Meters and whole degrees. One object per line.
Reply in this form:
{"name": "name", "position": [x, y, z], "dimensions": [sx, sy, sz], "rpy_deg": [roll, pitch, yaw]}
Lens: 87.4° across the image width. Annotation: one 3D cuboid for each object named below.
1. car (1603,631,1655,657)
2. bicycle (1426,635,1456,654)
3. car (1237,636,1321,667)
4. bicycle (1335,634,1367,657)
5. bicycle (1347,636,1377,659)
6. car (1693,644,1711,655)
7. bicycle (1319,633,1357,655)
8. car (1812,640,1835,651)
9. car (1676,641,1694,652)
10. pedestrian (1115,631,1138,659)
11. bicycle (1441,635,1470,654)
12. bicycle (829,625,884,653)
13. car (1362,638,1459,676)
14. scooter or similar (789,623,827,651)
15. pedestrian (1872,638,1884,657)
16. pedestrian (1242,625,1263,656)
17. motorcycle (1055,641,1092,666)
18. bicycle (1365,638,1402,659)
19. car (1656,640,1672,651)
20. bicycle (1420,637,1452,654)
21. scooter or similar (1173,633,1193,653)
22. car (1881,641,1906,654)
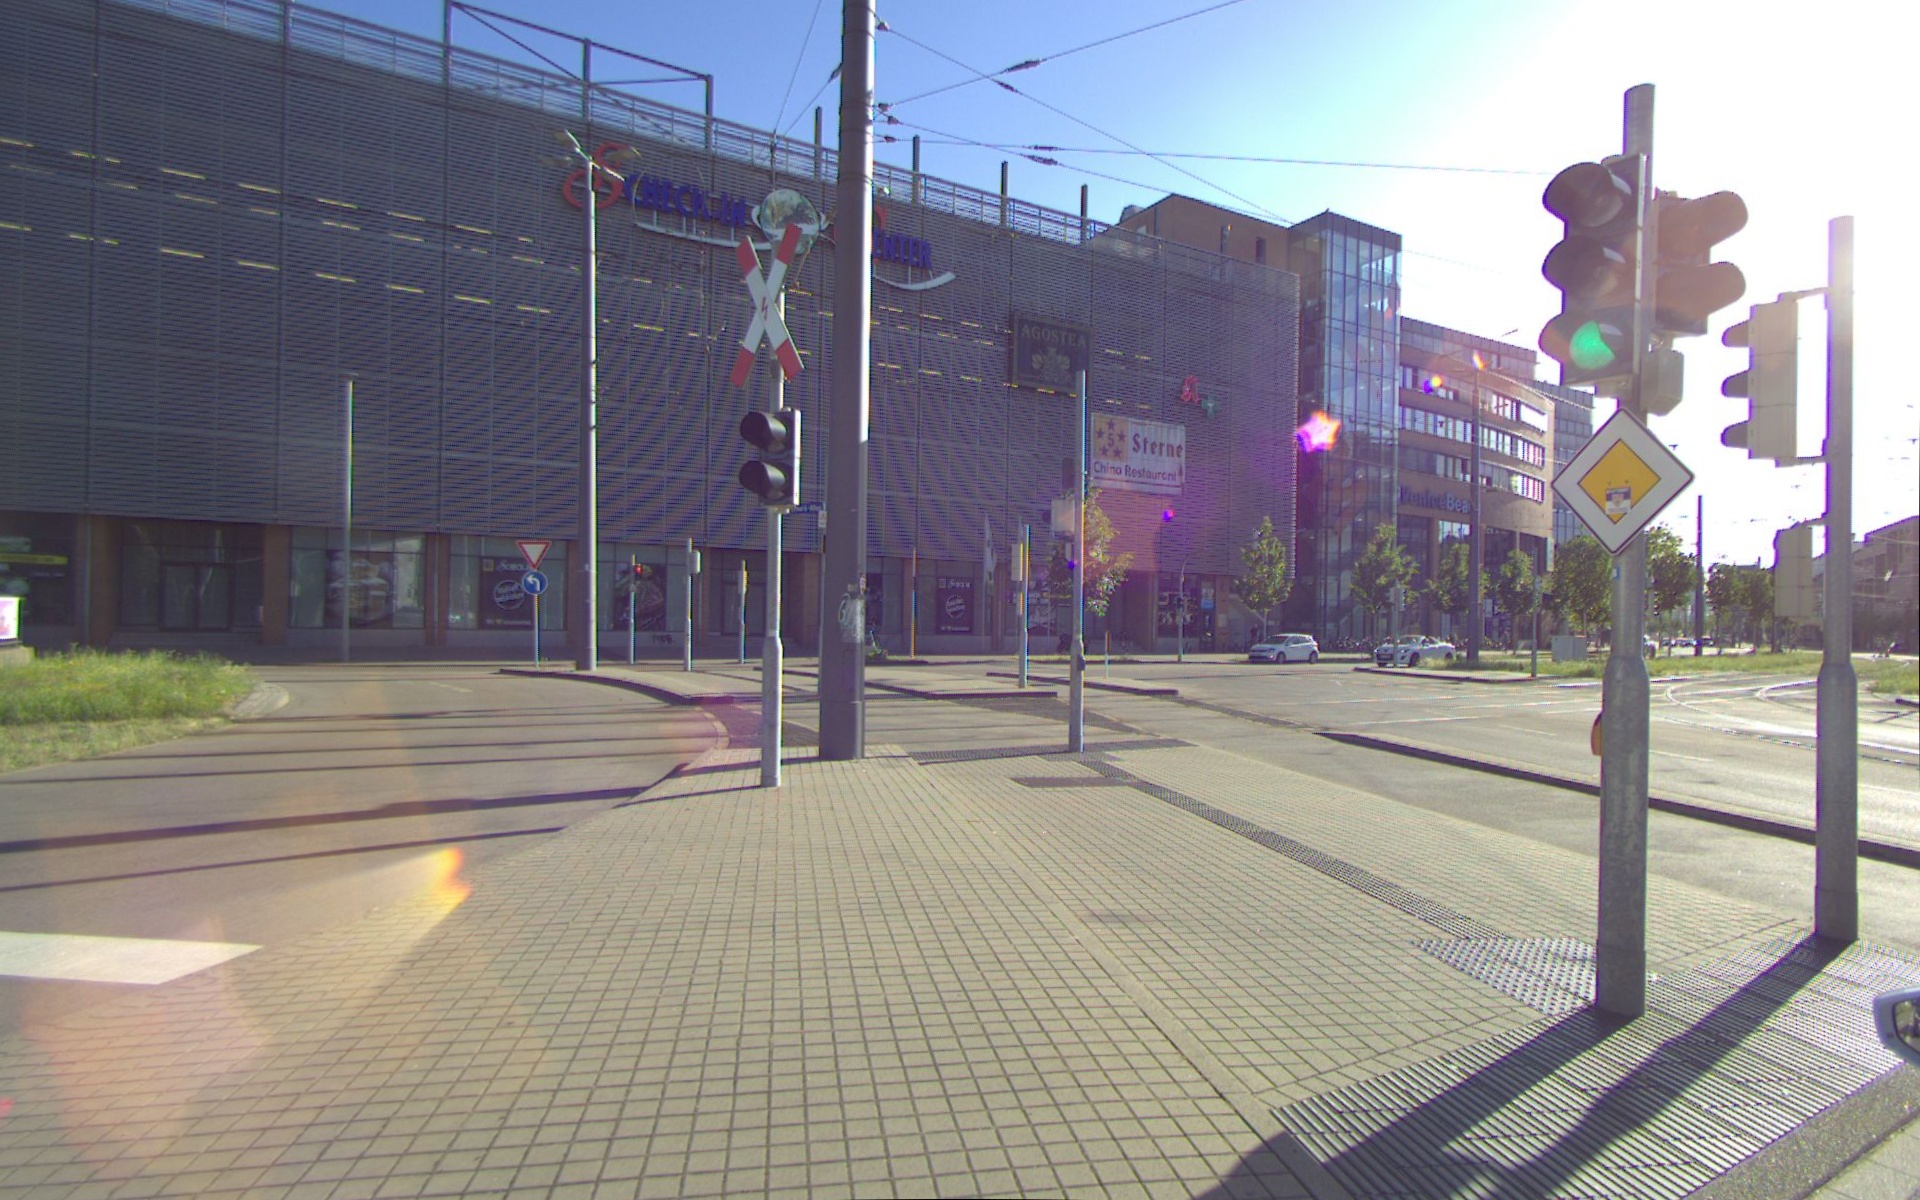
{"name": "car", "position": [46.198, 3.034, 69.294], "dimensions": [4.379, 1.661, 1.976], "rpy_deg": [3, -2, -42]}
{"name": "bicycle", "position": [37.842, 3.465, 79.076], "dimensions": [0.707, 1.452, 2.243], "rpy_deg": [2, -2, -20]}
{"name": "car", "position": [15.439, 2.477, 48.580], "dimensions": [3.959, 1.425, 1.882], "rpy_deg": [2, -2, -34]}
{"name": "bicycle", "position": [26.262, 3.050, 67.538], "dimensions": [0.848, 1.452, 2.080], "rpy_deg": [2, -2, -20]}
{"name": "bicycle", "position": [27.228, 3.208, 68.044], "dimensions": [0.795, 1.452, 1.975], "rpy_deg": [2, -2, -20]}
{"name": "car", "position": [124.459, 8.267, 168.506], "dimensions": [1.965, 1.706, 3.991], "rpy_deg": [0, -2, 32]}
{"name": "bicycle", "position": [25.268, 2.917, 67.156], "dimensions": [1.060, 1.452, 2.367], "rpy_deg": [2, -2, -20]}
{"name": "car", "position": [144.551, 7.566, 168.117], "dimensions": [1.964, 1.661, 4.405], "rpy_deg": [1, -1, 29]}
{"name": "car", "position": [117.685, 7.467, 163.088], "dimensions": [1.965, 1.706, 3.991], "rpy_deg": [0, -2, 32]}
{"name": "pedestrian", "position": [9.645, 2.631, 58.235], "dimensions": [0.819, 1.586, 0.983], "rpy_deg": [3, -3, -29]}
{"name": "bicycle", "position": [39.532, 3.571, 80.179], "dimensions": [0.747, 1.452, 2.135], "rpy_deg": [2, -2, -20]}
{"name": "bicycle", "position": [-4.751, 1.810, 46.219], "dimensions": [2.383, 1.237, 0.797], "rpy_deg": [2, -1, -27]}
{"name": "car", "position": [20.320, 2.541, 45.262], "dimensions": [4.485, 1.566, 1.980], "rpy_deg": [2, -1, -35]}
{"name": "scooter or similar", "position": [-7.100, 1.734, 46.997], "dimensions": [1.555, 1.222, 0.790], "rpy_deg": [3, -3, -29]}
{"name": "pedestrian", "position": [91.748, 4.755, 100.359], "dimensions": [0.892, 1.848, 0.824], "rpy_deg": [-1, -3, 44]}
{"name": "pedestrian", "position": [17.847, 2.454, 61.218], "dimensions": [0.894, 1.848, 0.823], "rpy_deg": [3, -3, -28]}
{"name": "motorcycle", "position": [5.956, 2.811, 52.787], "dimensions": [1.872, 1.255, 0.672], "rpy_deg": [3, -2, -31]}
{"name": "bicycle", "position": [29.742, 3.401, 70.589], "dimensions": [0.891, 1.452, 2.558], "rpy_deg": [2, -2, -20]}
{"name": "car", "position": [115.505, 7.433, 164.790], "dimensions": [1.965, 1.706, 3.991], "rpy_deg": [0, -2, 32]}
{"name": "bicycle", "position": [37.180, 3.569, 78.525], "dimensions": [0.733, 1.252, 2.411], "rpy_deg": [2, -2, -20]}
{"name": "scooter or similar", "position": [12.974, 2.505, 58.441], "dimensions": [1.138, 1.124, 0.419], "rpy_deg": [3, -3, -29]}
{"name": "car", "position": [130.472, 6.591, 140.436], "dimensions": [1.967, 1.728, 3.988], "rpy_deg": [0, -3, 35]}
